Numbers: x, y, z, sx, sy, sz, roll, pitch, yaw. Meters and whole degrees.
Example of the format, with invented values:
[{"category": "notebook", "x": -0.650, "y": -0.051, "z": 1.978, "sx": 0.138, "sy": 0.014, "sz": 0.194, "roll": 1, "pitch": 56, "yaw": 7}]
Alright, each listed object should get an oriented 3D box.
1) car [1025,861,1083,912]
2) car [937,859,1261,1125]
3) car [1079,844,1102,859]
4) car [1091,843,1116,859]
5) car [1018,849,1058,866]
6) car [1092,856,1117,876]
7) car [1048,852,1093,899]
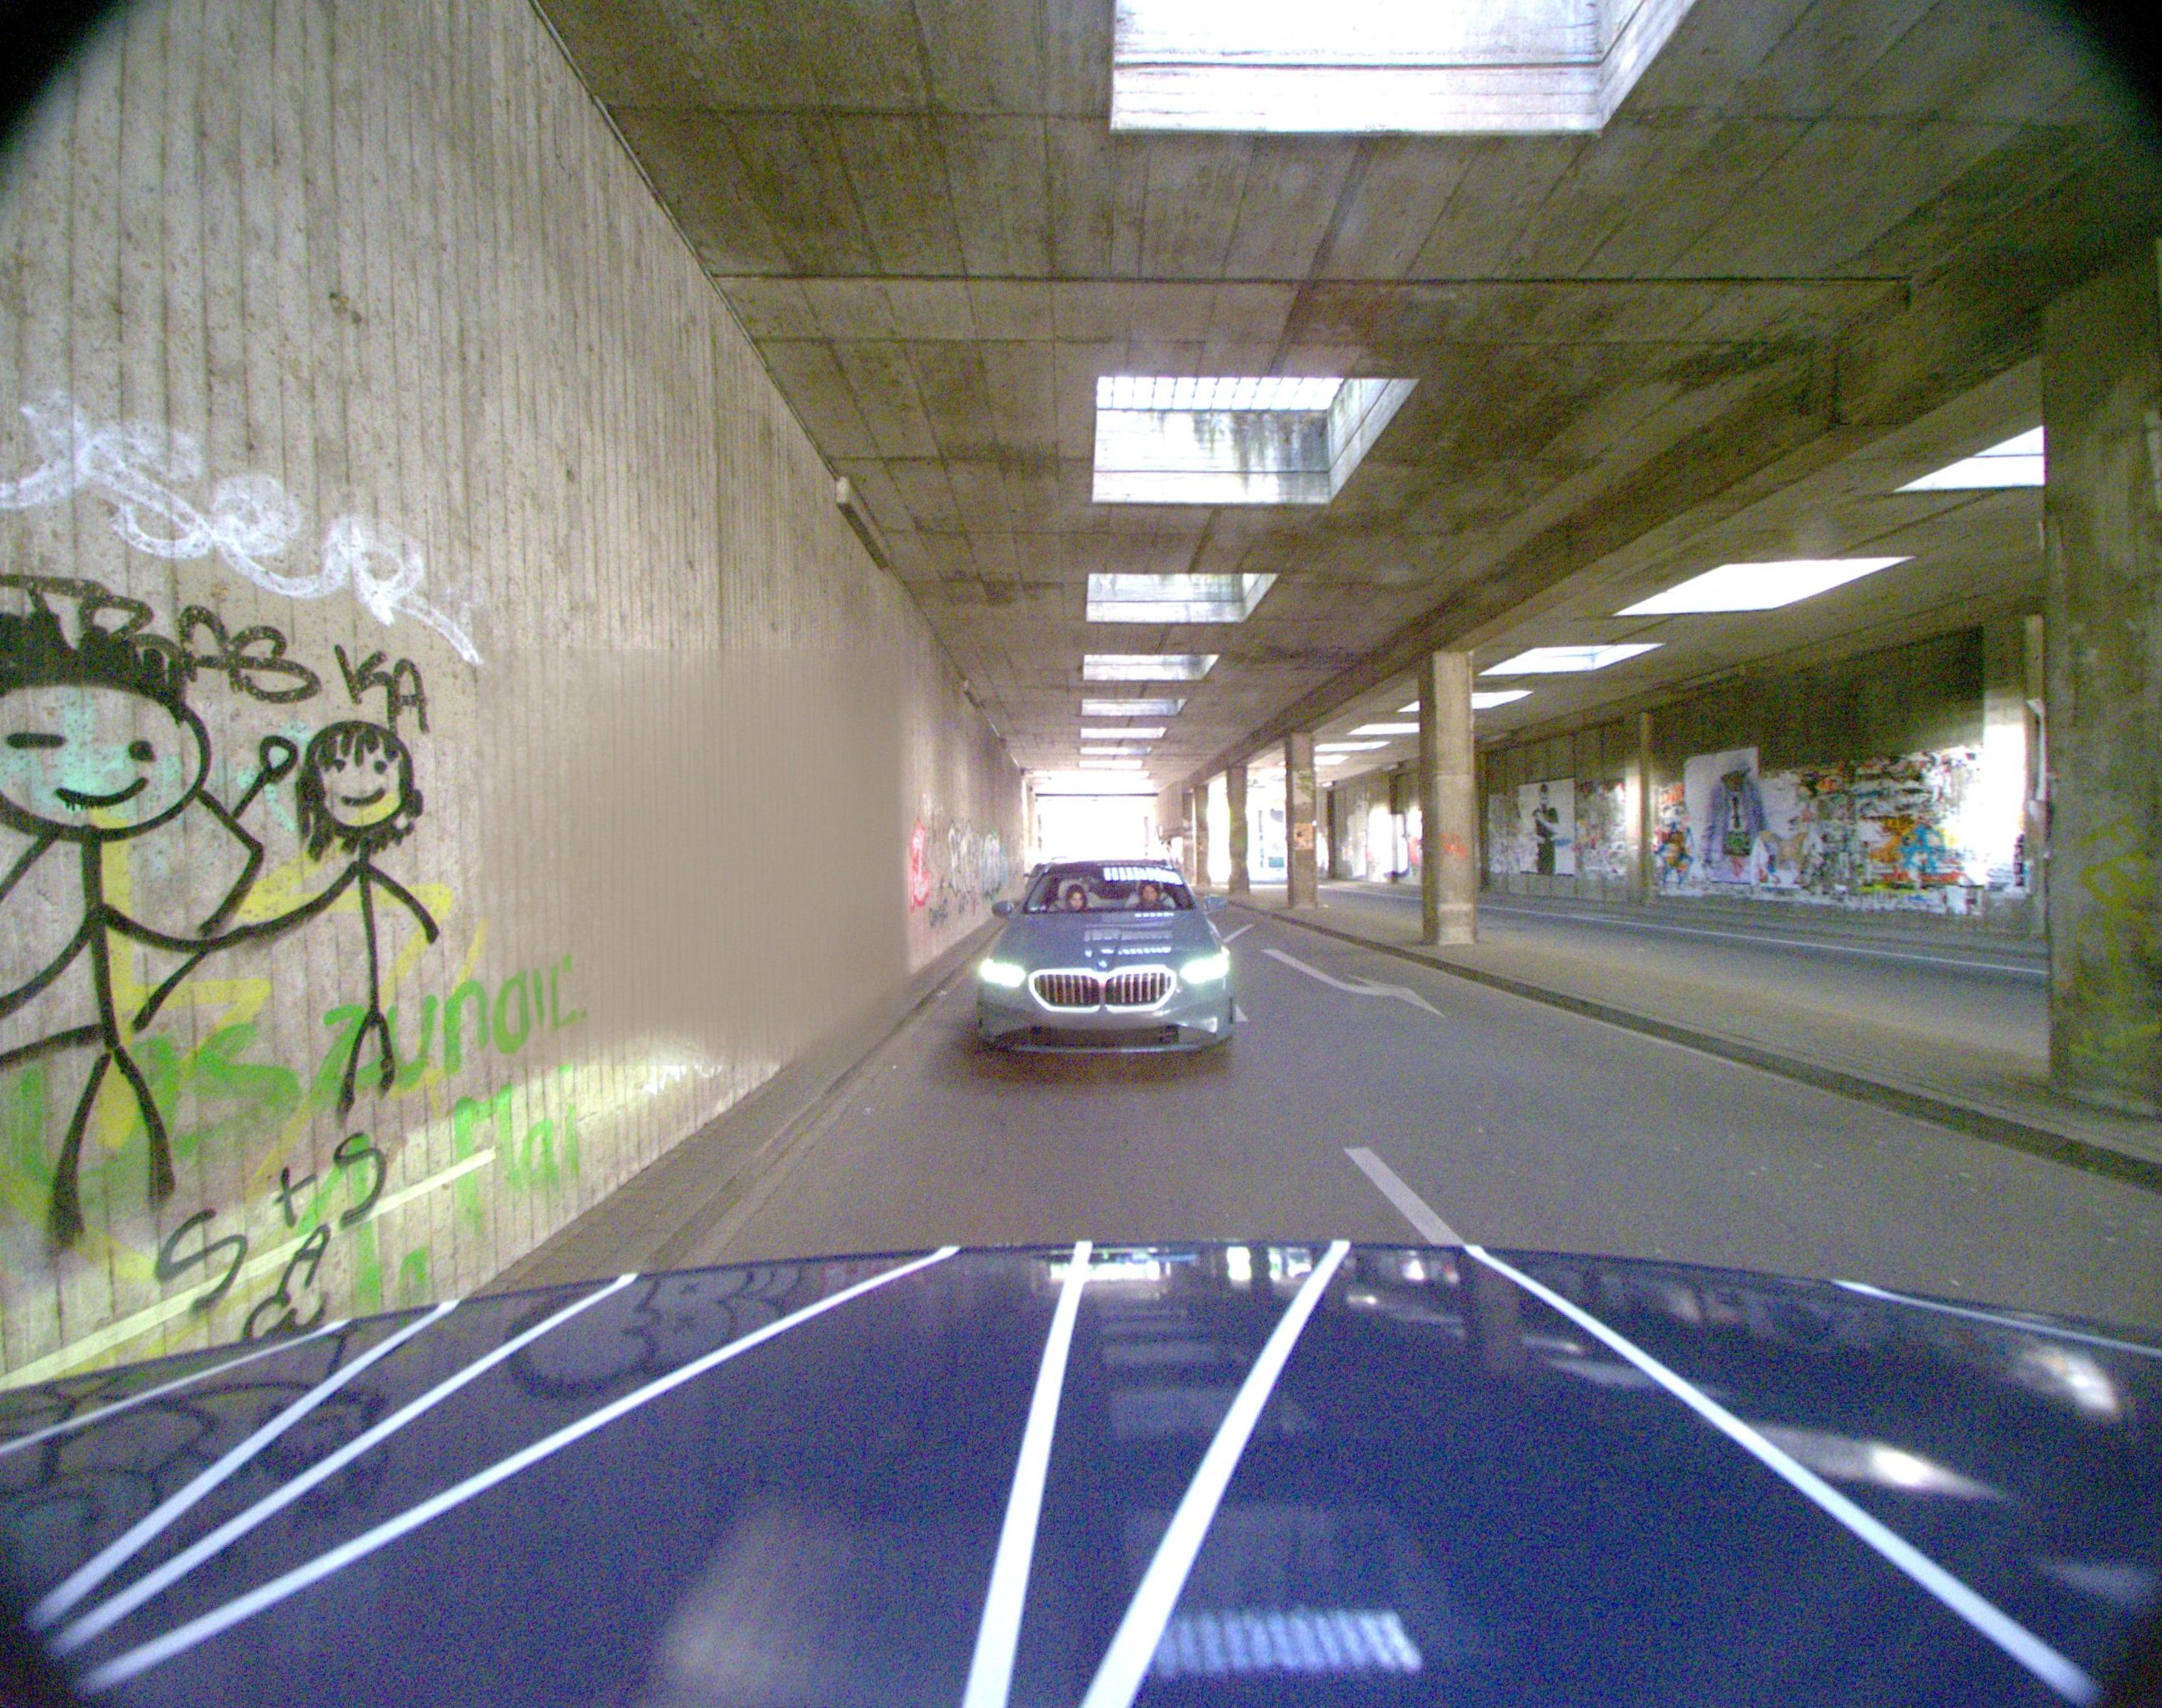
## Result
[{"category": "car", "x": -0.784, "y": 0.951, "z": 23.914, "sx": 1.593, "sy": 1.387, "sz": 3.833, "roll": -2, "pitch": 0, "yaw": 1}, {"category": "car", "x": 0.190, "y": 0.885, "z": 7.339, "sx": 1.998, "sy": 1.594, "sz": 5.176, "roll": -1, "pitch": 0, "yaw": 2}, {"category": "car", "x": 1.218, "y": -0.340, "z": 103.564, "sx": 2.361, "sy": 2.002, "sz": 5.146, "roll": -1, "pitch": 0, "yaw": -8}, {"category": "car", "x": 2.871, "y": -0.335, "z": 97.552, "sx": 2.361, "sy": 2.002, "sz": 5.146, "roll": -1, "pitch": 0, "yaw": -8}, {"category": "car", "x": -4.434, "y": 0.332, "z": 79.213, "sx": 3.997, "sy": 1.696, "sz": 2.000, "roll": -1, "pitch": 0, "yaw": -1}, {"category": "car", "x": 1.709, "y": 0.866, "z": 56.962, "sx": 1.784, "sy": 1.438, "sz": 4.178, "roll": -1, "pitch": 0, "yaw": 0}, {"category": "car", "x": -0.361, "y": 0.770, "z": 29.921, "sx": 1.581, "sy": 1.676, "sz": 4.078, "roll": -2, "pitch": 0, "yaw": 1}]
